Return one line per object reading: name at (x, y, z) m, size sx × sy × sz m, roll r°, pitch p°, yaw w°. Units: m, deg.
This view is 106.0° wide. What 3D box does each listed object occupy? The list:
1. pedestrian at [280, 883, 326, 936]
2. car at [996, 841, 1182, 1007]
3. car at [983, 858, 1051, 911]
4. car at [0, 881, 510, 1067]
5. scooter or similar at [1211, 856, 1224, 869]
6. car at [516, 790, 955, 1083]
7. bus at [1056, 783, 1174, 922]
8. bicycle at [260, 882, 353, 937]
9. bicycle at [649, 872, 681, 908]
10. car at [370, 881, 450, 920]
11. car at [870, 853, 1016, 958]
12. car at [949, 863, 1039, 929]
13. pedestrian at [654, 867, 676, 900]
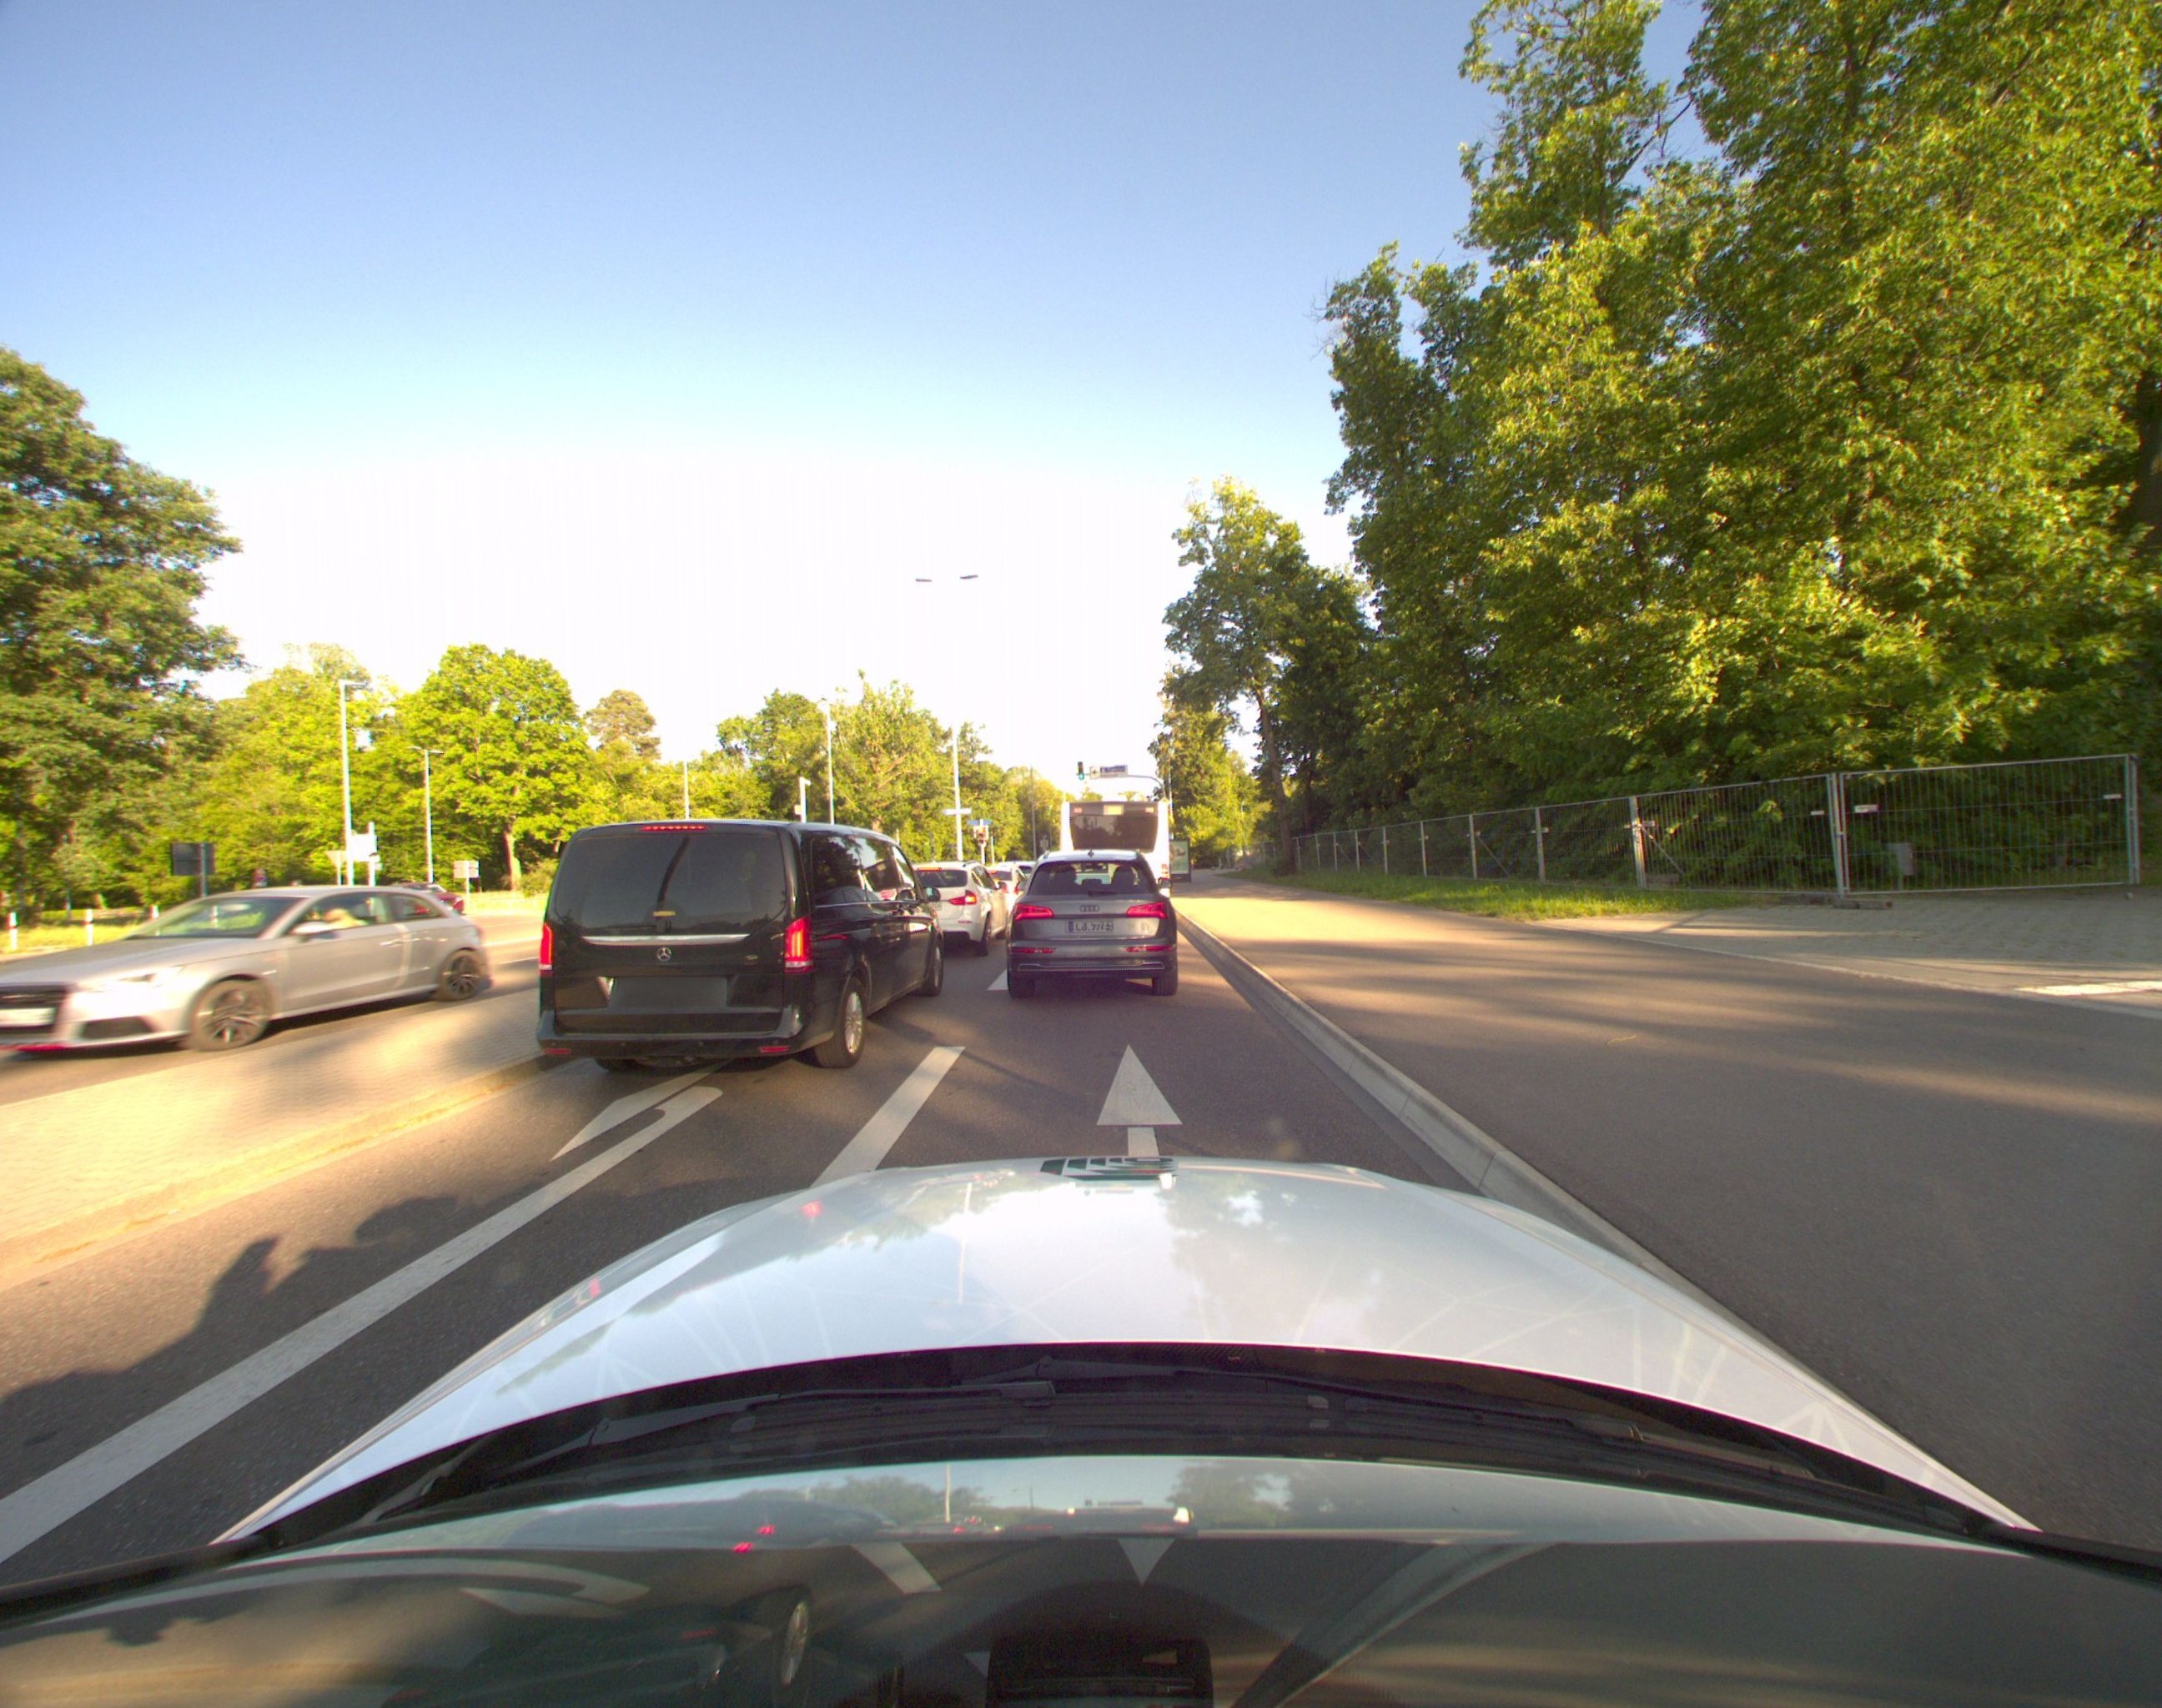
pedestrian at (-23.469, 1.671, 24.579) m, size 0.736 × 1.544 × 0.674 m, roll 0°, pitch -1°, yaw 4°
car at (0.143, 0.700, 10.192) m, size 1.861 × 1.664 × 4.002 m, roll 0°, pitch 0°, yaw 2°
car at (-2.058, 0.952, 27.211) m, size 1.801 × 1.572 × 4.002 m, roll 0°, pitch 0°, yaw 2°
car at (-8.107, 1.022, 8.406) m, size 1.593 × 1.396 × 3.845 m, roll 0°, pitch -1°, yaw 2°
scooter or similar at (12.922, 0.794, 76.984) m, size 1.175 × 1.174 × 0.661 m, roll 0°, pitch 0°, yaw 13°
car at (-2.586, 0.542, 7.627) m, size 1.900 × 1.856 × 4.875 m, roll 0°, pitch 0°, yaw 2°
bus at (0.933, -0.041, 21.506) m, size 2.667 × 3.142 × 5.886 m, roll 0°, pitch 0°, yaw 3°
bicycle at (-23.467, 1.653, 24.739) m, size 0.747 × 1.551 × 2.024 m, roll 0°, pitch -1°, yaw 5°
bicycle at (-20.845, 1.797, 40.853) m, size 0.613 × 1.750 × 1.993 m, roll 0°, pitch -1°, yaw 0°
car at (-30.745, 2.067, 37.299) m, size 3.948 × 1.618 × 2.013 m, roll -1°, pitch -1°, yaw 38°
car at (-2.281, 0.827, 14.584) m, size 1.712 × 1.581 × 4.435 m, roll 0°, pitch -1°, yaw 2°
car at (-2.091, 0.979, 20.696) m, size 1.779 × 1.444 × 4.278 m, roll 0°, pitch 0°, yaw 1°
pedestrian at (-20.842, 1.479, 40.798) m, size 0.693 × 1.626 × 0.789 m, roll 0°, pitch -1°, yaw 2°
